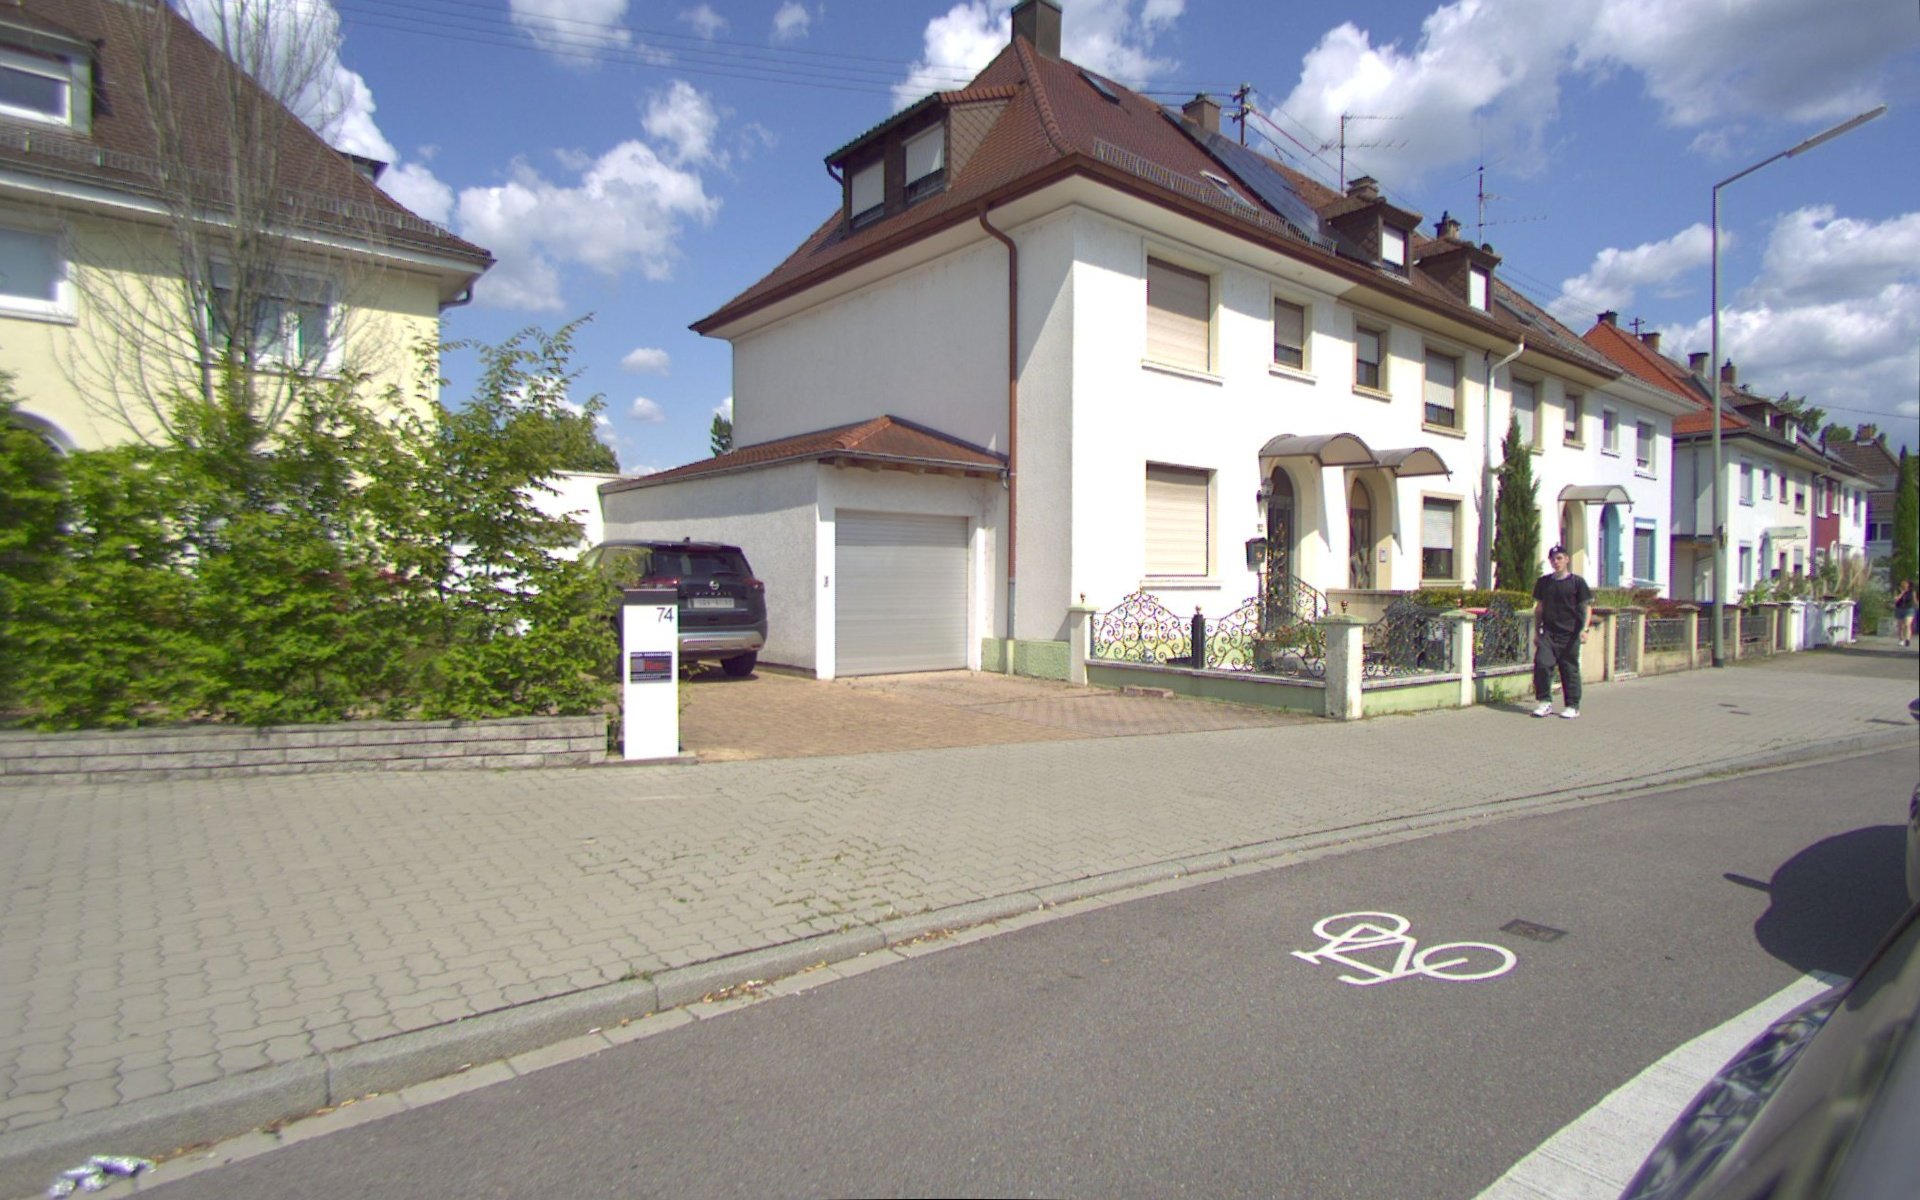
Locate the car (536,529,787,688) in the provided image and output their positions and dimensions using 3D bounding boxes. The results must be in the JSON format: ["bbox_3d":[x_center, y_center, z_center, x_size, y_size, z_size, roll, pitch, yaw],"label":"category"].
[{"bbox_3d":[-4.017,0.041,13.180,1.833,1.729,3.998,0,1,-37],"label":"car"}]

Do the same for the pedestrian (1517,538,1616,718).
[{"bbox_3d":[6.322,0.265,10.550,0.921,1.790,0.592,0,1,-41],"label":"pedestrian"}]

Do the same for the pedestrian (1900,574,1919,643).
[{"bbox_3d":[24.341,0.215,25.739,0.607,1.732,0.519,0,1,-39],"label":"pedestrian"}]

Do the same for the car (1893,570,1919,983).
[{"bbox_3d":[5.712,0.645,4.614,4.607,1.492,1.764,0,1,-43],"label":"car"}]
